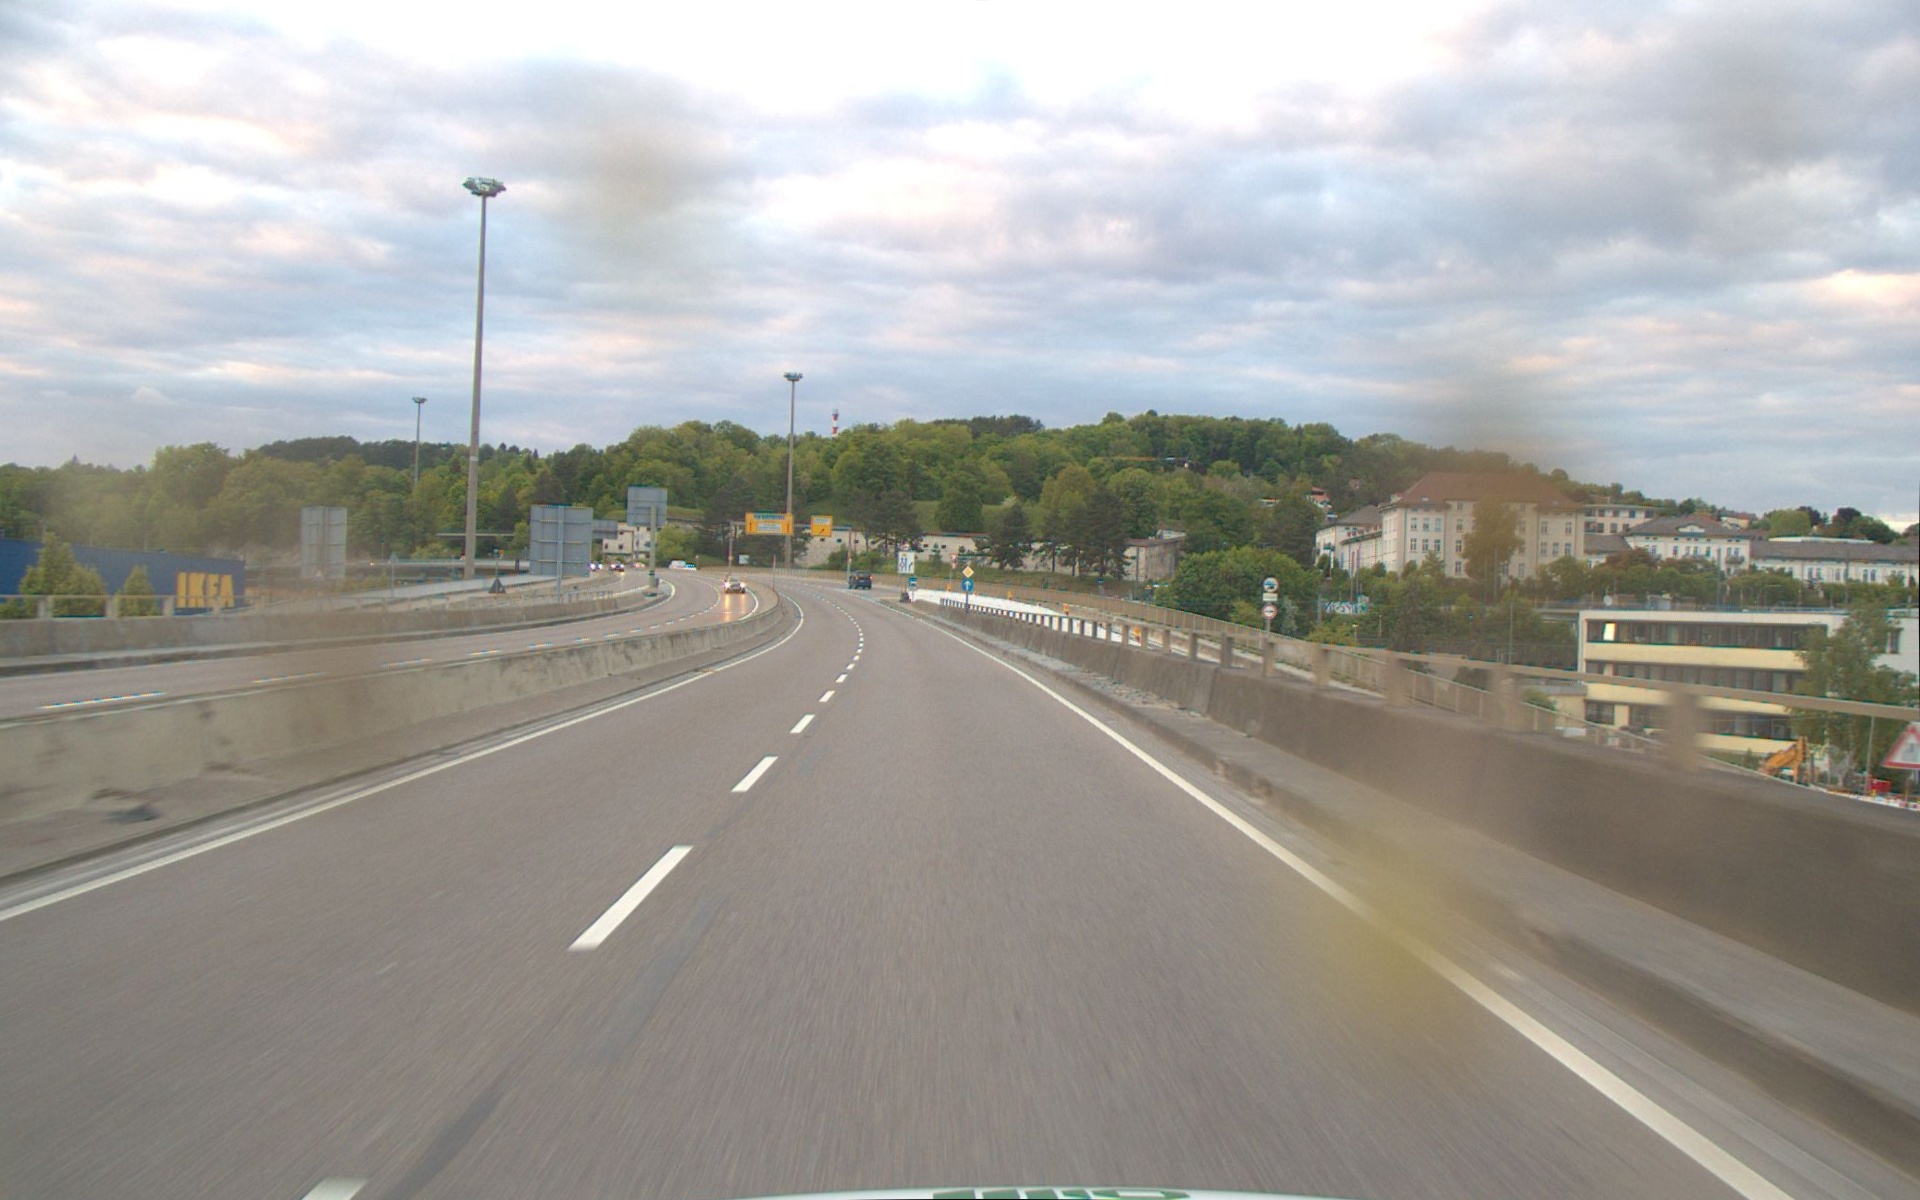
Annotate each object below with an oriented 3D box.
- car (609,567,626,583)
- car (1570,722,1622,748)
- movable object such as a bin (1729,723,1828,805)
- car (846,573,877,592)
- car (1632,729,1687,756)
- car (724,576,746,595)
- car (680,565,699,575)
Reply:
[{"bbox_3d":[-51.883,-3.727,250.195,1.619,1.740,3.977,-18,3,-19],"label":"car"},{"bbox_3d":[49.011,10.427,127.419,3.955,1.592,1.810,6,1,-36],"label":"car"},{"bbox_3d":[52.219,10.426,105.614,2.730,4.382,4.940,8,-1,-14],"label":"movable object such as a bin"},{"bbox_3d":[-10.207,-1.824,171.151,2.267,1.794,4.244,3,1,-16],"label":"car"},{"bbox_3d":[51.203,10.429,121.065,3.955,1.592,1.810,6,1,-36],"label":"car"},{"bbox_3d":[-19.441,-1.232,142.916,1.795,1.506,4.278,1,0,-9],"label":"car"},{"bbox_3d":[-40.468,-4.551,247.262,1.613,1.412,3.963,0,2,-28],"label":"car"}]
